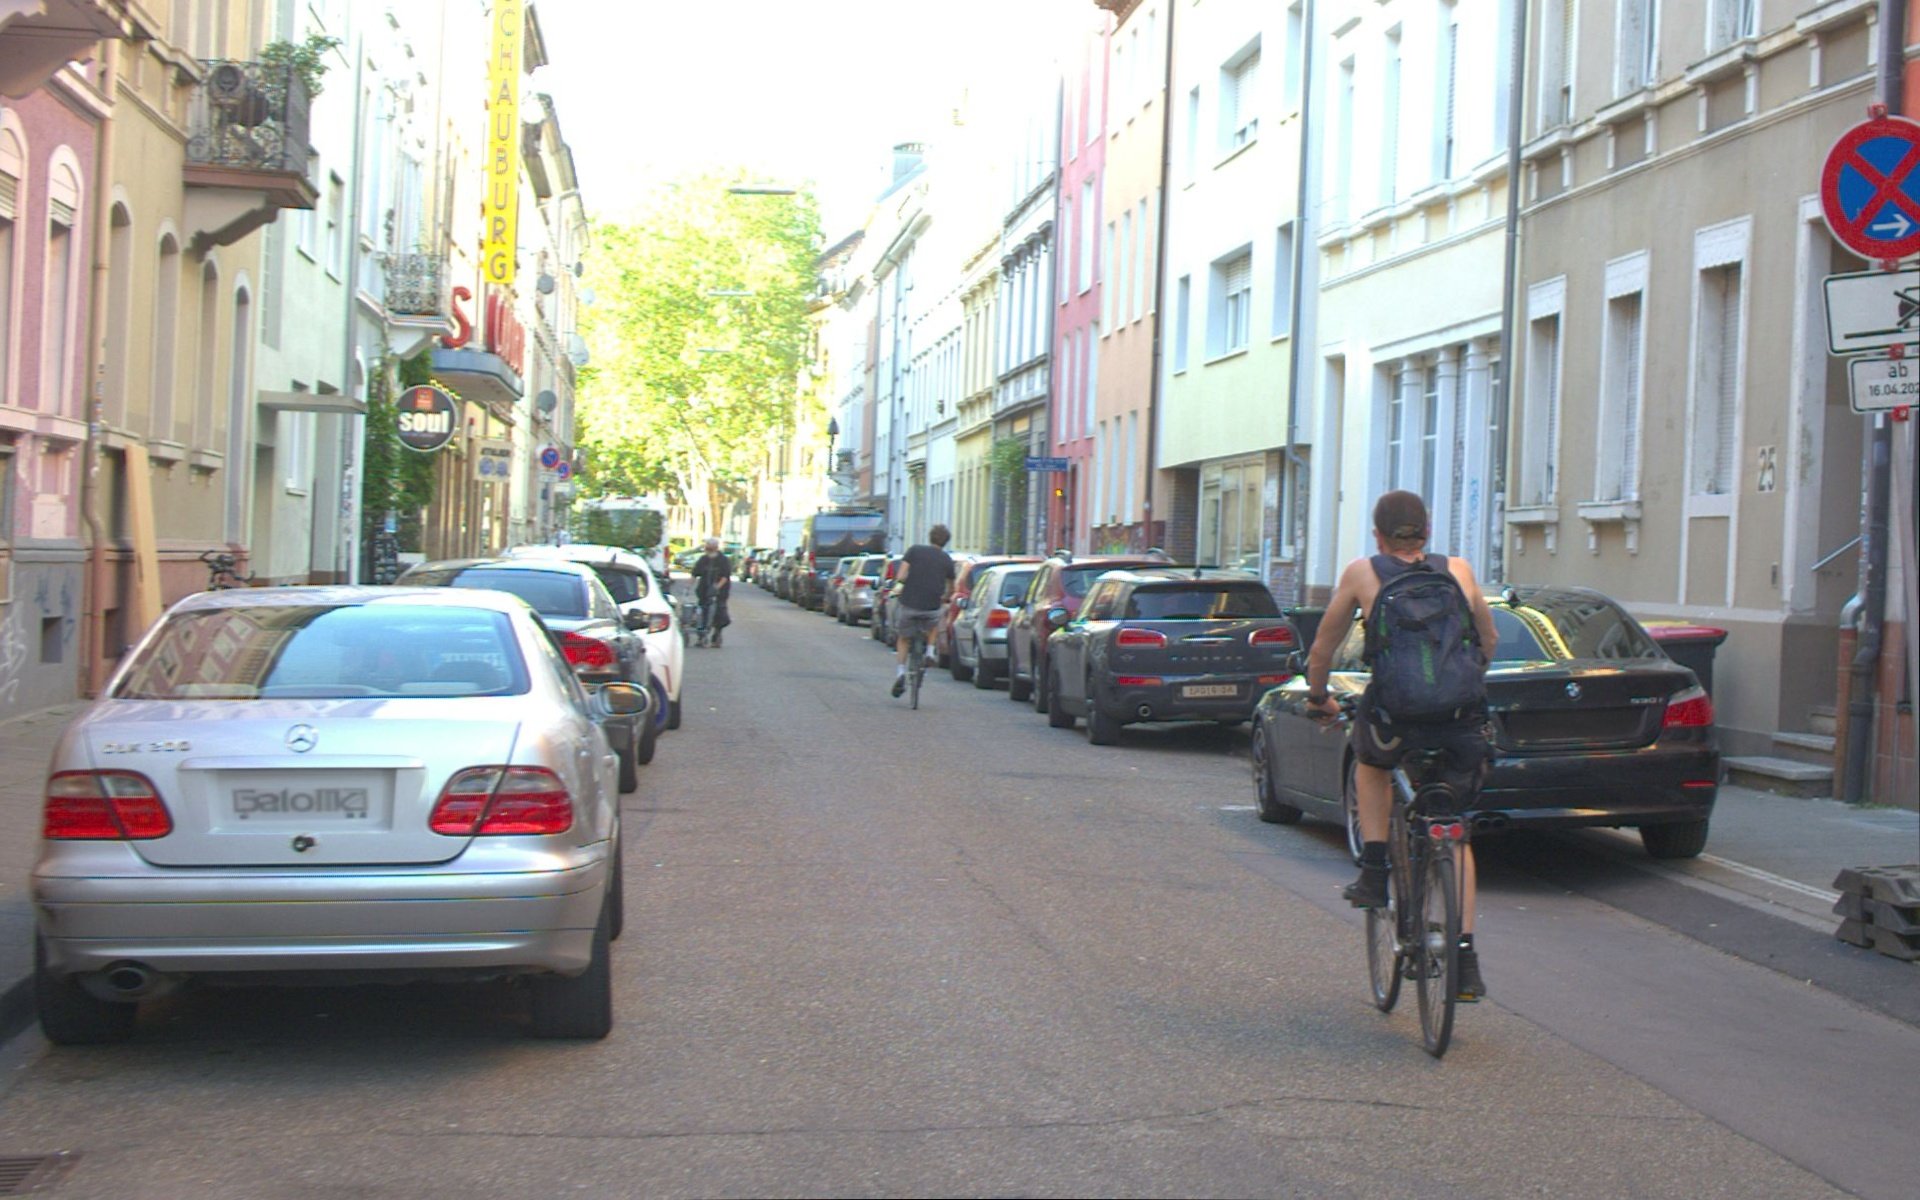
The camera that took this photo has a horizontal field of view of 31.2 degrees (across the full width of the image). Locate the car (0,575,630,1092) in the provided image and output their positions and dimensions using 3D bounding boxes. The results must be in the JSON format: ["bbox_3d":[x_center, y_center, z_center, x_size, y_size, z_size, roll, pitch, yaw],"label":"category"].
[{"bbox_3d":[-1.998,0.619,11.639,1.710,1.378,4.506,0,1,-5],"label":"car"}]

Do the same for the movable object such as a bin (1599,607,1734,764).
[{"bbox_3d":[4.973,0.597,24.228,0.807,1.071,0.677,-1,1,0],"label":"movable object such as a bin"}]

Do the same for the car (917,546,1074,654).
[{"bbox_3d":[0.435,-0.027,45.857,1.710,1.378,4.001,0,1,-5],"label":"car"}]

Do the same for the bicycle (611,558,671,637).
[{"bbox_3d":[-4.738,-0.054,50.990,0.699,1.102,2.275,3,0,-9],"label":"bicycle"}]

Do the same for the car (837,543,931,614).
[{"bbox_3d":[-1.619,-0.470,72.188,1.710,1.442,4.001,0,1,-5],"label":"car"}]

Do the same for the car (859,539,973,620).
[{"bbox_3d":[-0.810,-0.381,60.893,1.710,1.389,4.001,0,1,-5],"label":"car"}]

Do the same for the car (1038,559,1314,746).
[{"bbox_3d":[1.800,0.400,29.911,1.816,1.516,4.001,0,1,-5],"label":"car"}]

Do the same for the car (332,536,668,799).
[{"bbox_3d":[-2.823,0.349,21.898,1.710,1.378,4.356,2,2,-3],"label":"car"}]

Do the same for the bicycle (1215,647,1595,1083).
[{"bbox_3d":[1.414,0.807,11.407,0.702,1.204,2.342,3,0,-5],"label":"bicycle"}]

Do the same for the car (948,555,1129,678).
[{"bbox_3d":[0.875,0.156,40.629,1.710,1.378,4.001,0,1,-5],"label":"car"}]

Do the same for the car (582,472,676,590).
[{"bbox_3d":[-7.352,-1.534,76.108,1.909,2.488,4.166,1,1,-7],"label":"car"}]

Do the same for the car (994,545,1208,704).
[{"bbox_3d":[1.403,0.215,35.651,1.710,1.551,4.001,0,1,-5],"label":"car"}]

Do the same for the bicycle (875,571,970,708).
[{"bbox_3d":[-0.382,0.361,33.397,0.702,1.203,2.343,2,2,-5],"label":"bicycle"}]

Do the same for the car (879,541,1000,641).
[{"bbox_3d":[-0.362,-0.162,55.500,1.620,1.545,4.001,0,1,-5],"label":"car"}]

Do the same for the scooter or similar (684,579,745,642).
[{"bbox_3d":[-3.603,0.150,50.412,0.770,0.870,0.771,3,0,-9],"label":"scooter or similar"}]

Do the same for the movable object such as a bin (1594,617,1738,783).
[{"bbox_3d":[4.742,0.664,23.115,0.736,1.071,0.678,-1,1,-11],"label":"movable object such as a bin"}]

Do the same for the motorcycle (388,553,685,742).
[{"bbox_3d":[-3.193,0.339,25.972,2.146,1.354,0.540,-1,2,-22],"label":"motorcycle"}]

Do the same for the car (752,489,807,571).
[{"bbox_3d":[-8.453,-3.233,160.490,2.307,3.755,6.771,0,1,-5],"label":"car"}]

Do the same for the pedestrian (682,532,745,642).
[{"bbox_3d":[-3.640,-0.199,50.766,0.770,1.573,0.900,3,0,-9],"label":"pedestrian"}]

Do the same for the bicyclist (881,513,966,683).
[{"bbox_3d":[-0.357,-0.031,33.314,0.702,1.599,0.813,2,2,-5],"label":"bicyclist"}]

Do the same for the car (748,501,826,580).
[{"bbox_3d":[-5.724,-1.947,113.181,2.307,2.529,6.771,0,1,-5],"label":"car"}]

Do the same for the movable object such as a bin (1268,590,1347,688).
[{"bbox_3d":[3.888,0.428,38.481,0.807,1.071,0.677,-1,1,0],"label":"movable object such as a bin"}]

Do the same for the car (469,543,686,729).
[{"bbox_3d":[-3.140,0.250,28.704,1.671,1.437,4.166,0,1,-5],"label":"car"}]

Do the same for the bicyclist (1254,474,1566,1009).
[{"bbox_3d":[1.447,0.436,11.238,0.702,1.627,1.090,3,0,-5],"label":"bicyclist"}]

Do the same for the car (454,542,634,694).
[{"bbox_3d":[-4.131,0.148,34.596,1.671,1.437,3.769,0,1,-5],"label":"car"}]

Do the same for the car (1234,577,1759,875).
[{"bbox_3d":[2.842,0.605,19.343,1.816,1.433,4.791,0,1,-5],"label":"car"}]

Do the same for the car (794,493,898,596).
[{"bbox_3d":[-2.960,-1.401,87.869,2.307,2.529,6.771,0,1,-5],"label":"car"}]

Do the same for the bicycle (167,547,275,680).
[{"bbox_3d":[-6.415,0.104,29.928,0.592,1.085,2.079,3,0,-5],"label":"bicycle"}]
